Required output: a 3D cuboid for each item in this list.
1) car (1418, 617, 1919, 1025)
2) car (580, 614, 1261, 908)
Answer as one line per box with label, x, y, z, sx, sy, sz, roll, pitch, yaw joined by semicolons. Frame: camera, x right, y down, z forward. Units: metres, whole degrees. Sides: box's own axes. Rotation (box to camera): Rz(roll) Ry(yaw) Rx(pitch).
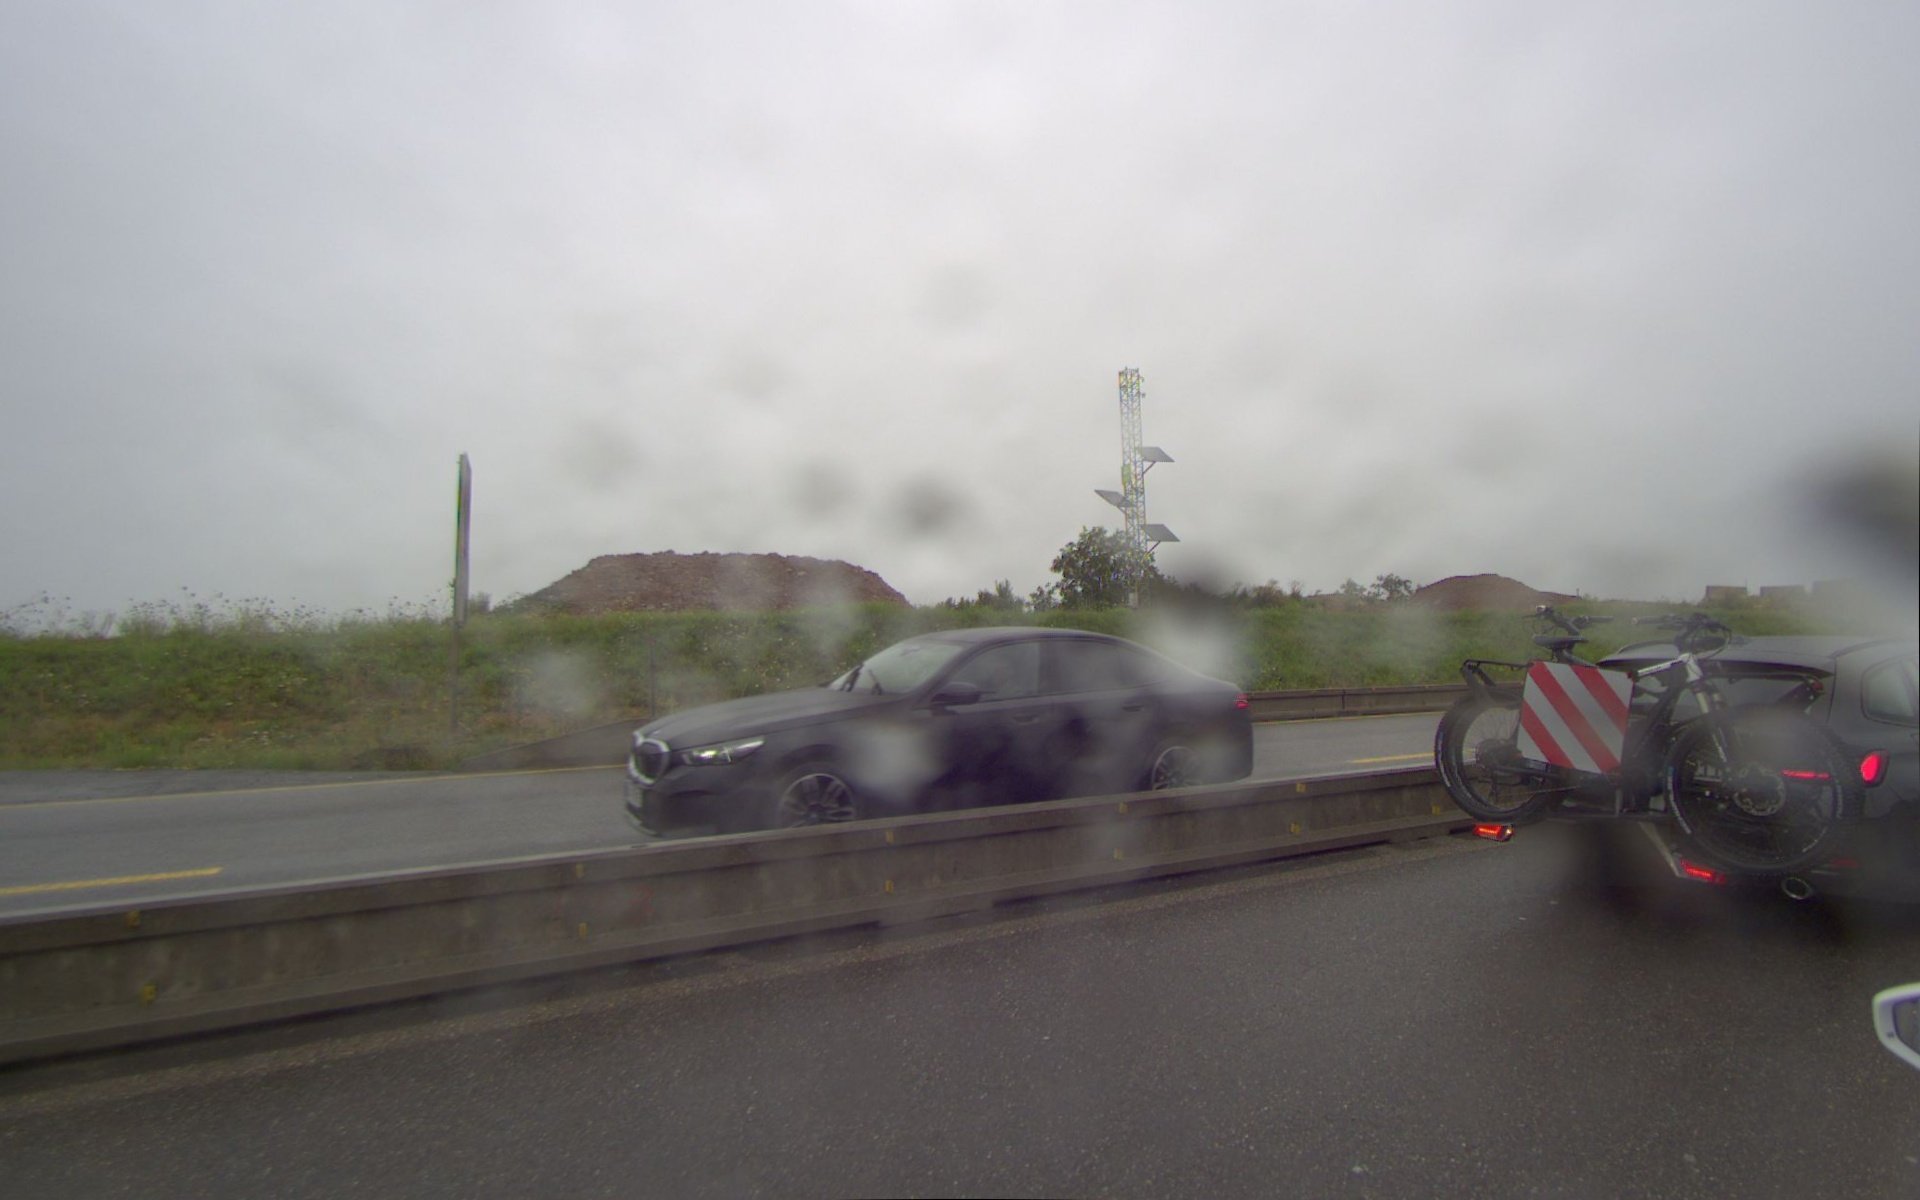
car;5.303;0.892;6.036;5.561;1.482;1.727;-1;0;-30
car;-0.162;0.934;7.590;4.837;1.606;1.909;1;-1;-30
